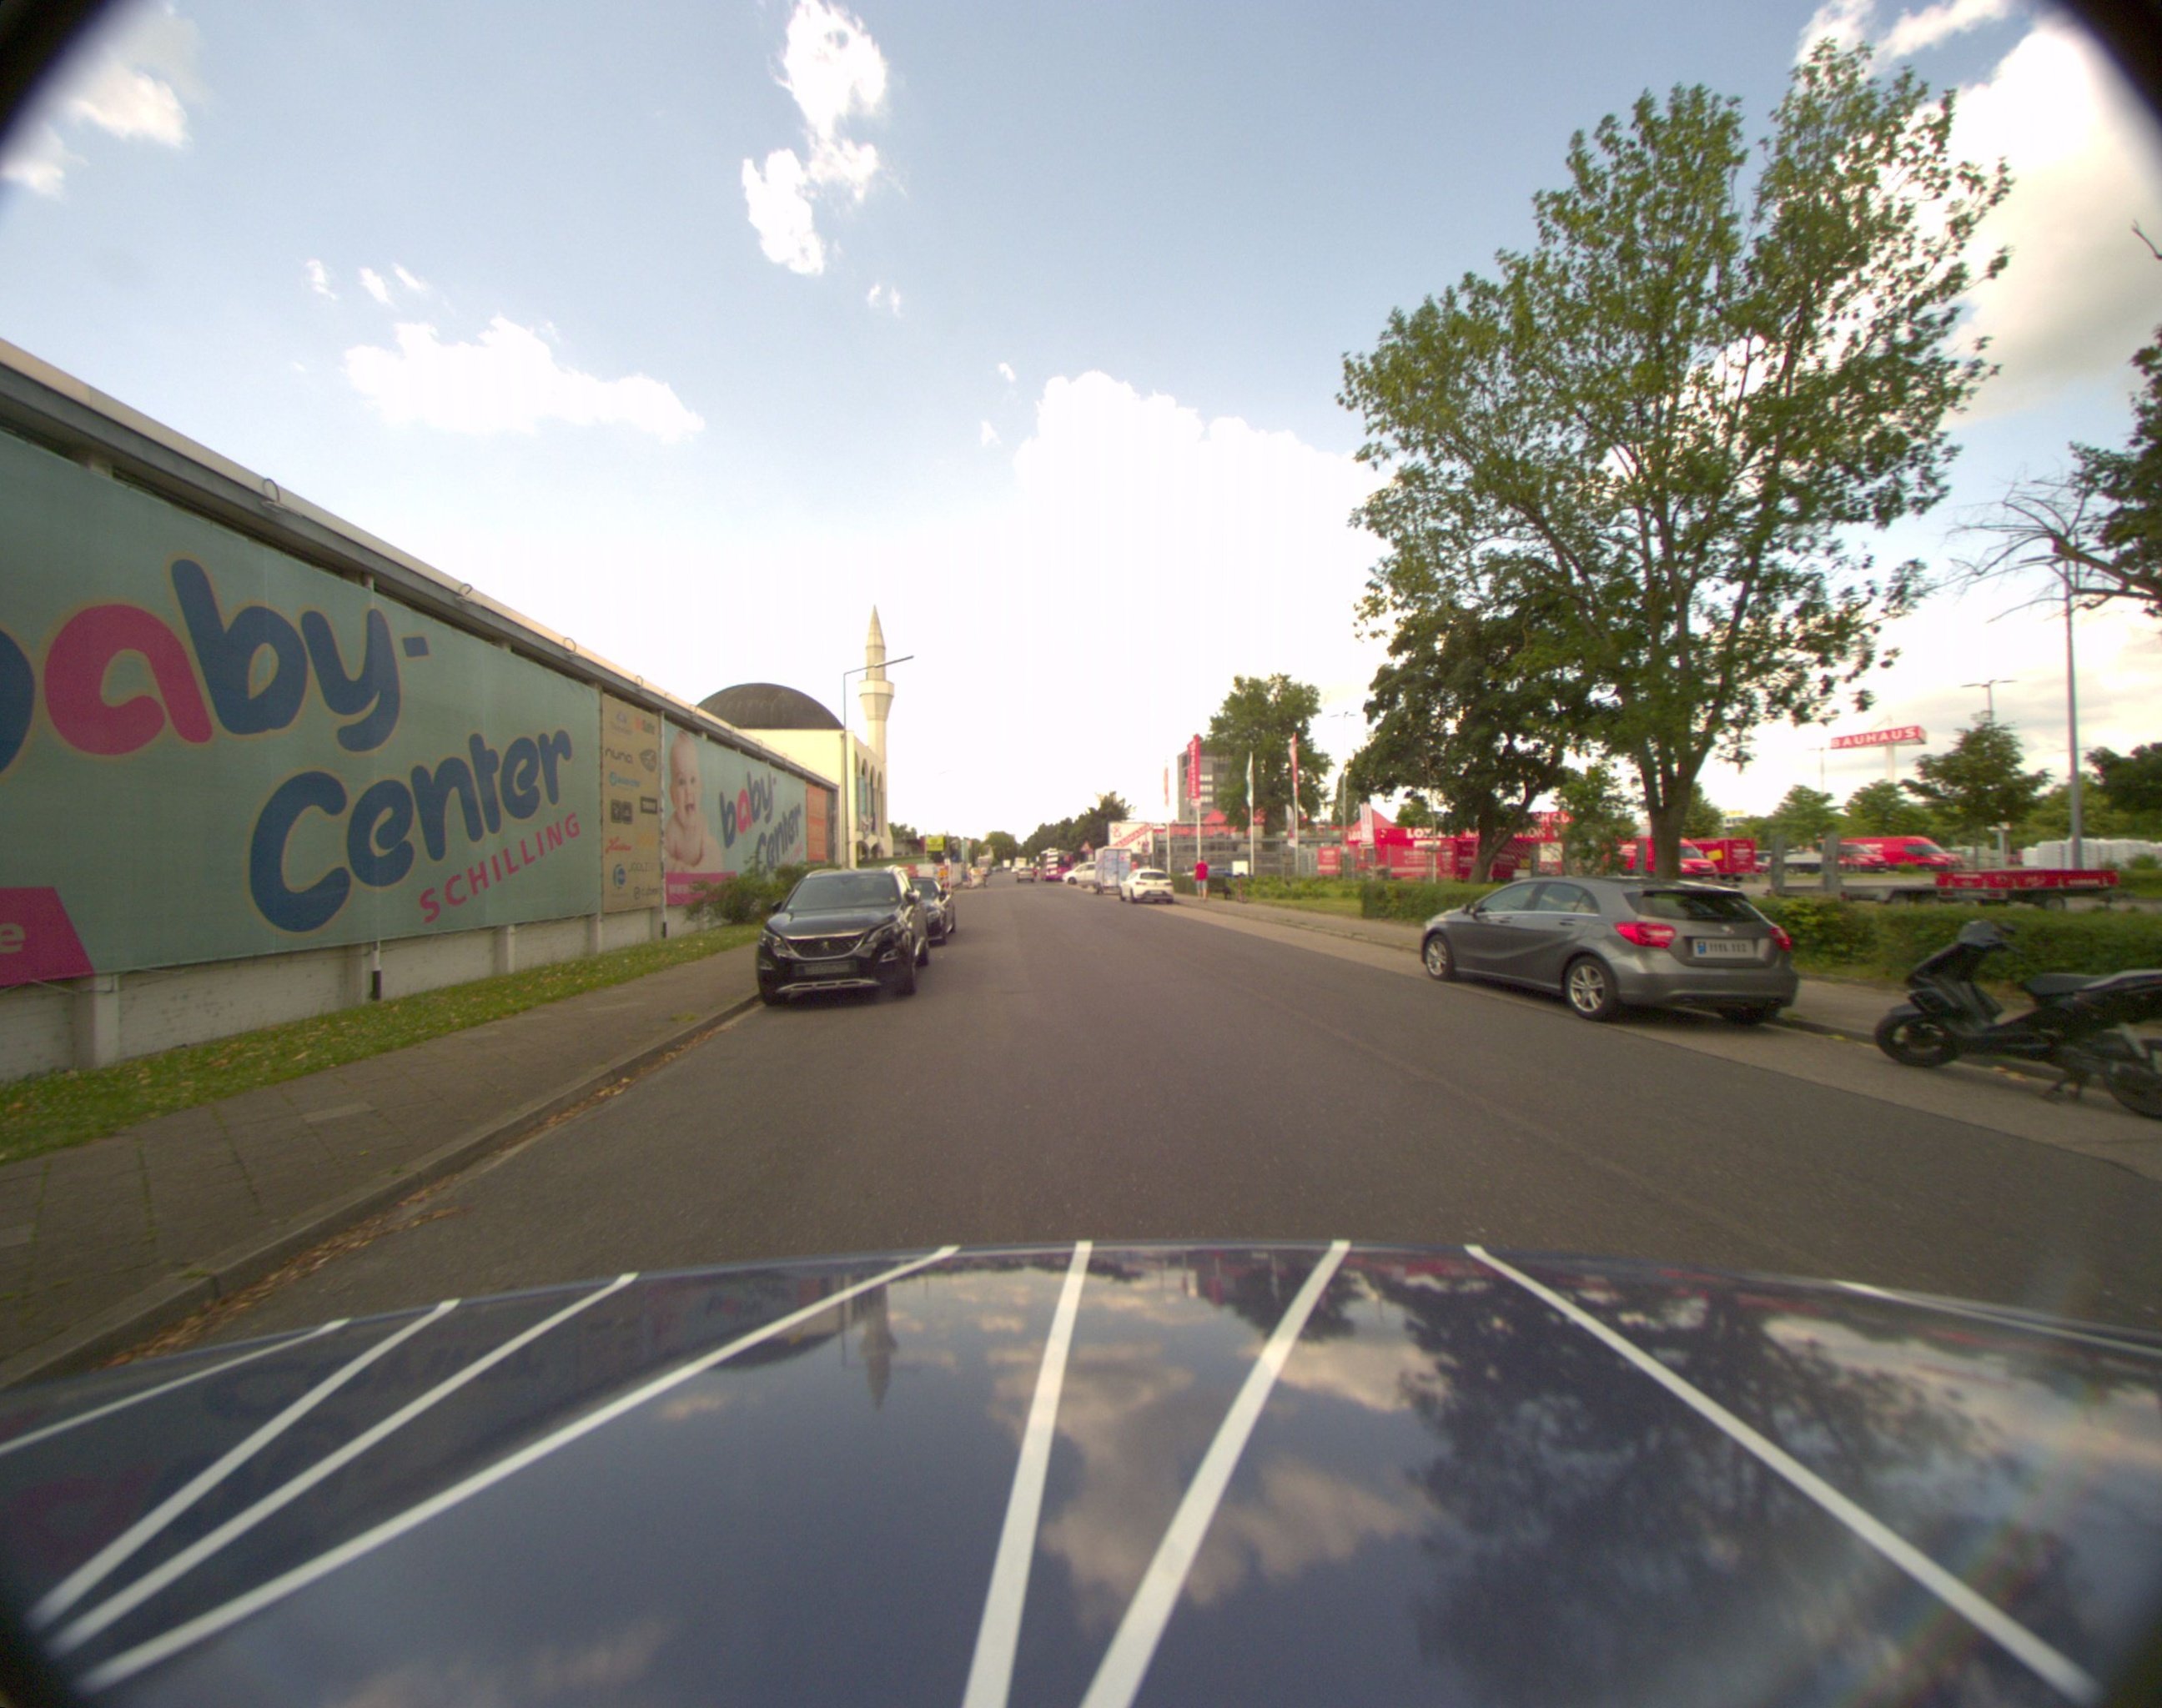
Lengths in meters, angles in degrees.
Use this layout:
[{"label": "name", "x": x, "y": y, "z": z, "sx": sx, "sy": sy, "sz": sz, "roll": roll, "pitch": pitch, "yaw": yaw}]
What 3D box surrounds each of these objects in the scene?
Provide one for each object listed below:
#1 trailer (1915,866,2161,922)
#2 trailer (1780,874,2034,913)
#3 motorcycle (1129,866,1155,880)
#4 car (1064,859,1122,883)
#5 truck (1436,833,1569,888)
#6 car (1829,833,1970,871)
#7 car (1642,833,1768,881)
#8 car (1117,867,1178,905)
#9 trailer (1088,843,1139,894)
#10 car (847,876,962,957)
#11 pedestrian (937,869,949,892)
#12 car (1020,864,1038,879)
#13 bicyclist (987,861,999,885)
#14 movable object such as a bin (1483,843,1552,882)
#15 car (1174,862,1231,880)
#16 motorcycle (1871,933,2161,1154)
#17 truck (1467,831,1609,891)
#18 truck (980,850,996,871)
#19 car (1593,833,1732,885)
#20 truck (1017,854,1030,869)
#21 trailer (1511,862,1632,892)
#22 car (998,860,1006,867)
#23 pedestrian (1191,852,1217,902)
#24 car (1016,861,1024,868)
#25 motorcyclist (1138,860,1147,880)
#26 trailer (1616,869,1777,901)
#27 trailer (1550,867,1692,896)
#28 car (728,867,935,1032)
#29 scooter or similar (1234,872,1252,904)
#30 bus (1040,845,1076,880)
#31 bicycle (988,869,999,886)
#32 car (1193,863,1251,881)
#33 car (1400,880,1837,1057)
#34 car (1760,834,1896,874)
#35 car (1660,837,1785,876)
[{"label": "trailer", "x": 22.684, "y": 0.921, "z": 18.060, "sx": 3.827, "sy": 1.183, "sz": 1.715, "roll": -1, "pitch": -1, "yaw": 0}, {"label": "trailer", "x": 22.292, "y": 1.053, "z": 20.665, "sx": 4.607, "sy": 0.907, "sz": 2.187, "roll": -1, "pitch": -1, "yaw": -1}, {"label": "motorcycle", "x": 5.417, "y": 1.687, "z": 67.580, "sx": 2.228, "sy": 1.206, "sz": 0.994, "roll": 0, "pitch": 0, "yaw": -6}, {"label": "car", "x": 1.031, "y": 1.476, "z": 66.957, "sx": 5.013, "sy": 1.937, "sz": 1.992, "roll": -1, "pitch": 0, "yaw": -1}, {"label": "truck", "x": 20.930, "y": 0.286, "z": 37.863, "sx": 5.771, "sy": 2.579, "sz": 1.814, "roll": -1, "pitch": 2, "yaw": -4}, {"label": "car", "x": 55.527, "y": -0.192, "z": 51.804, "sx": 2.273, "sy": 2.402, "sz": 6.433, "roll": -1, "pitch": 1, "yaw": -7}, {"label": "car", "x": 36.006, "y": 0.109, "z": 44.118, "sx": 2.273, "sy": 2.579, "sz": 5.719, "roll": -1, "pitch": 1, "yaw": -6}, {"label": "car", "x": 2.823, "y": 1.340, "z": 33.174, "sx": 1.771, "sy": 1.470, "sz": 4.233, "roll": 2, "pitch": -1, "yaw": -7}, {"label": "trailer", "x": 1.804, "y": 0.831, "z": 43.879, "sx": 2.146, "sy": 2.766, "sz": 4.701, "roll": 1, "pitch": -1, "yaw": -7}, {"label": "car", "x": -3.797, "y": 1.281, "z": 17.138, "sx": 1.813, "sy": 1.382, "sz": 4.586, "roll": -3, "pitch": 0, "yaw": -5}, {"label": "pedestrian", "x": -9.467, "y": 1.781, "z": 52.127, "sx": 0.683, "sy": 1.525, "sz": 1.129, "roll": -1, "pitch": 0, "yaw": -8}, {"label": "car", "x": -5.075, "y": 1.716, "z": 74.077, "sx": 1.596, "sy": 1.456, "sz": 3.759, "roll": 0, "pitch": -1, "yaw": -7}, {"label": "bicyclist", "x": -6.742, "y": 1.435, "z": 58.184, "sx": 0.809, "sy": 1.782, "sz": 1.206, "roll": -3, "pitch": 1, "yaw": -7}, {"label": "movable object such as a bin", "x": 26.857, "y": 0.511, "z": 46.867, "sx": 2.000, "sy": 2.261, "sz": 3.543, "roll": -1, "pitch": 0, "yaw": -6}, {"label": "car", "x": 10.908, "y": 1.512, "z": 68.127, "sx": 4.698, "sy": 1.445, "sz": 1.954, "roll": -1, "pitch": 0, "yaw": -5}, {"label": "motorcycle", "x": 6.509, "y": 1.182, "z": 4.995, "sx": 0.623, "sy": 1.131, "sz": 1.802, "roll": 2, "pitch": -1, "yaw": -6}, {"label": "truck", "x": 20.774, "y": 0.284, "z": 34.639, "sx": 5.564, "sy": 2.579, "sz": 1.778, "roll": -1, "pitch": 2, "yaw": -6}, {"label": "truck", "x": -18.880, "y": 1.370, "z": 154.505, "sx": 2.787, "sy": 4.092, "sz": 8.275, "roll": -4, "pitch": 0, "yaw": -6}, {"label": "car", "x": 31.679, "y": 0.184, "z": 41.753, "sx": 2.273, "sy": 2.579, "sz": 6.433, "roll": -1, "pitch": 1, "yaw": -6}, {"label": "truck", "x": -14.726, "y": 1.940, "z": 194.453, "sx": 2.756, "sy": 3.701, "sz": 7.167, "roll": 1, "pitch": 0, "yaw": -7}, {"label": "trailer", "x": 20.761, "y": 0.958, "z": 32.243, "sx": 4.248, "sy": 1.114, "sz": 1.670, "roll": -1, "pitch": 1, "yaw": -8}, {"label": "car", "x": -21.043, "y": 2.612, "z": 202.269, "sx": 1.798, "sy": 1.880, "sz": 3.998, "roll": -1, "pitch": -1, "yaw": -7}, {"label": "pedestrian", "x": 5.097, "y": 0.947, "z": 31.491, "sx": 0.812, "sy": 2.002, "sz": 0.885, "roll": -1, "pitch": 0, "yaw": -7}, {"label": "car", "x": -13.782, "y": 2.369, "z": 171.293, "sx": 1.688, "sy": 1.461, "sz": 3.610, "roll": 0, "pitch": -1, "yaw": -7}, {"label": "motorcyclist", "x": 5.465, "y": 1.436, "z": 67.585, "sx": 0.676, "sy": 1.712, "sz": 0.994, "roll": 0, "pitch": 0, "yaw": -5}, {"label": "trailer", "x": 21.367, "y": 1.059, "z": 26.480, "sx": 4.248, "sy": 0.907, "sz": 2.021, "roll": -1, "pitch": 1, "yaw": -8}, {"label": "trailer", "x": 21.146, "y": 1.062, "z": 29.859, "sx": 4.248, "sy": 0.907, "sz": 2.157, "roll": -1, "pitch": 1, "yaw": -8}, {"label": "car", "x": -3.163, "y": 1.072, "z": 10.631, "sx": 1.814, "sy": 1.655, "sz": 4.637, "roll": -3, "pitch": 0, "yaw": -7}, {"label": "scooter or similar", "x": 6.367, "y": 1.314, "z": 29.841, "sx": 0.518, "sy": 1.186, "sz": 1.280, "roll": -2, "pitch": 0, "yaw": 5}, {"label": "bus", "x": -2.653, "y": 0.968, "z": 83.022, "sx": 2.671, "sy": 3.402, "sz": 13.211, "roll": 3, "pitch": -1, "yaw": -6}, {"label": "bicycle", "x": -6.709, "y": 1.800, "z": 58.083, "sx": 0.800, "sy": 1.173, "sz": 2.625, "roll": -3, "pitch": 0, "yaw": -7}, {"label": "car", "x": 11.775, "y": 1.485, "z": 63.453, "sx": 4.378, "sy": 1.368, "sz": 1.929, "roll": -1, "pitch": 0, "yaw": -4}, {"label": "car", "x": 5.611, "y": 1.076, "z": 8.776, "sx": 1.715, "sy": 1.411, "sz": 4.329, "roll": 2, "pitch": -1, "yaw": -5}, {"label": "car", "x": 49.461, "y": -0.071, "z": 50.596, "sx": 2.273, "sy": 2.402, "sz": 6.433, "roll": -1, "pitch": 1, "yaw": -7}, {"label": "car", "x": 41.975, "y": 0.079, "z": 50.003, "sx": 2.273, "sy": 2.402, "sz": 6.433, "roll": -1, "pitch": 1, "yaw": -7}]
